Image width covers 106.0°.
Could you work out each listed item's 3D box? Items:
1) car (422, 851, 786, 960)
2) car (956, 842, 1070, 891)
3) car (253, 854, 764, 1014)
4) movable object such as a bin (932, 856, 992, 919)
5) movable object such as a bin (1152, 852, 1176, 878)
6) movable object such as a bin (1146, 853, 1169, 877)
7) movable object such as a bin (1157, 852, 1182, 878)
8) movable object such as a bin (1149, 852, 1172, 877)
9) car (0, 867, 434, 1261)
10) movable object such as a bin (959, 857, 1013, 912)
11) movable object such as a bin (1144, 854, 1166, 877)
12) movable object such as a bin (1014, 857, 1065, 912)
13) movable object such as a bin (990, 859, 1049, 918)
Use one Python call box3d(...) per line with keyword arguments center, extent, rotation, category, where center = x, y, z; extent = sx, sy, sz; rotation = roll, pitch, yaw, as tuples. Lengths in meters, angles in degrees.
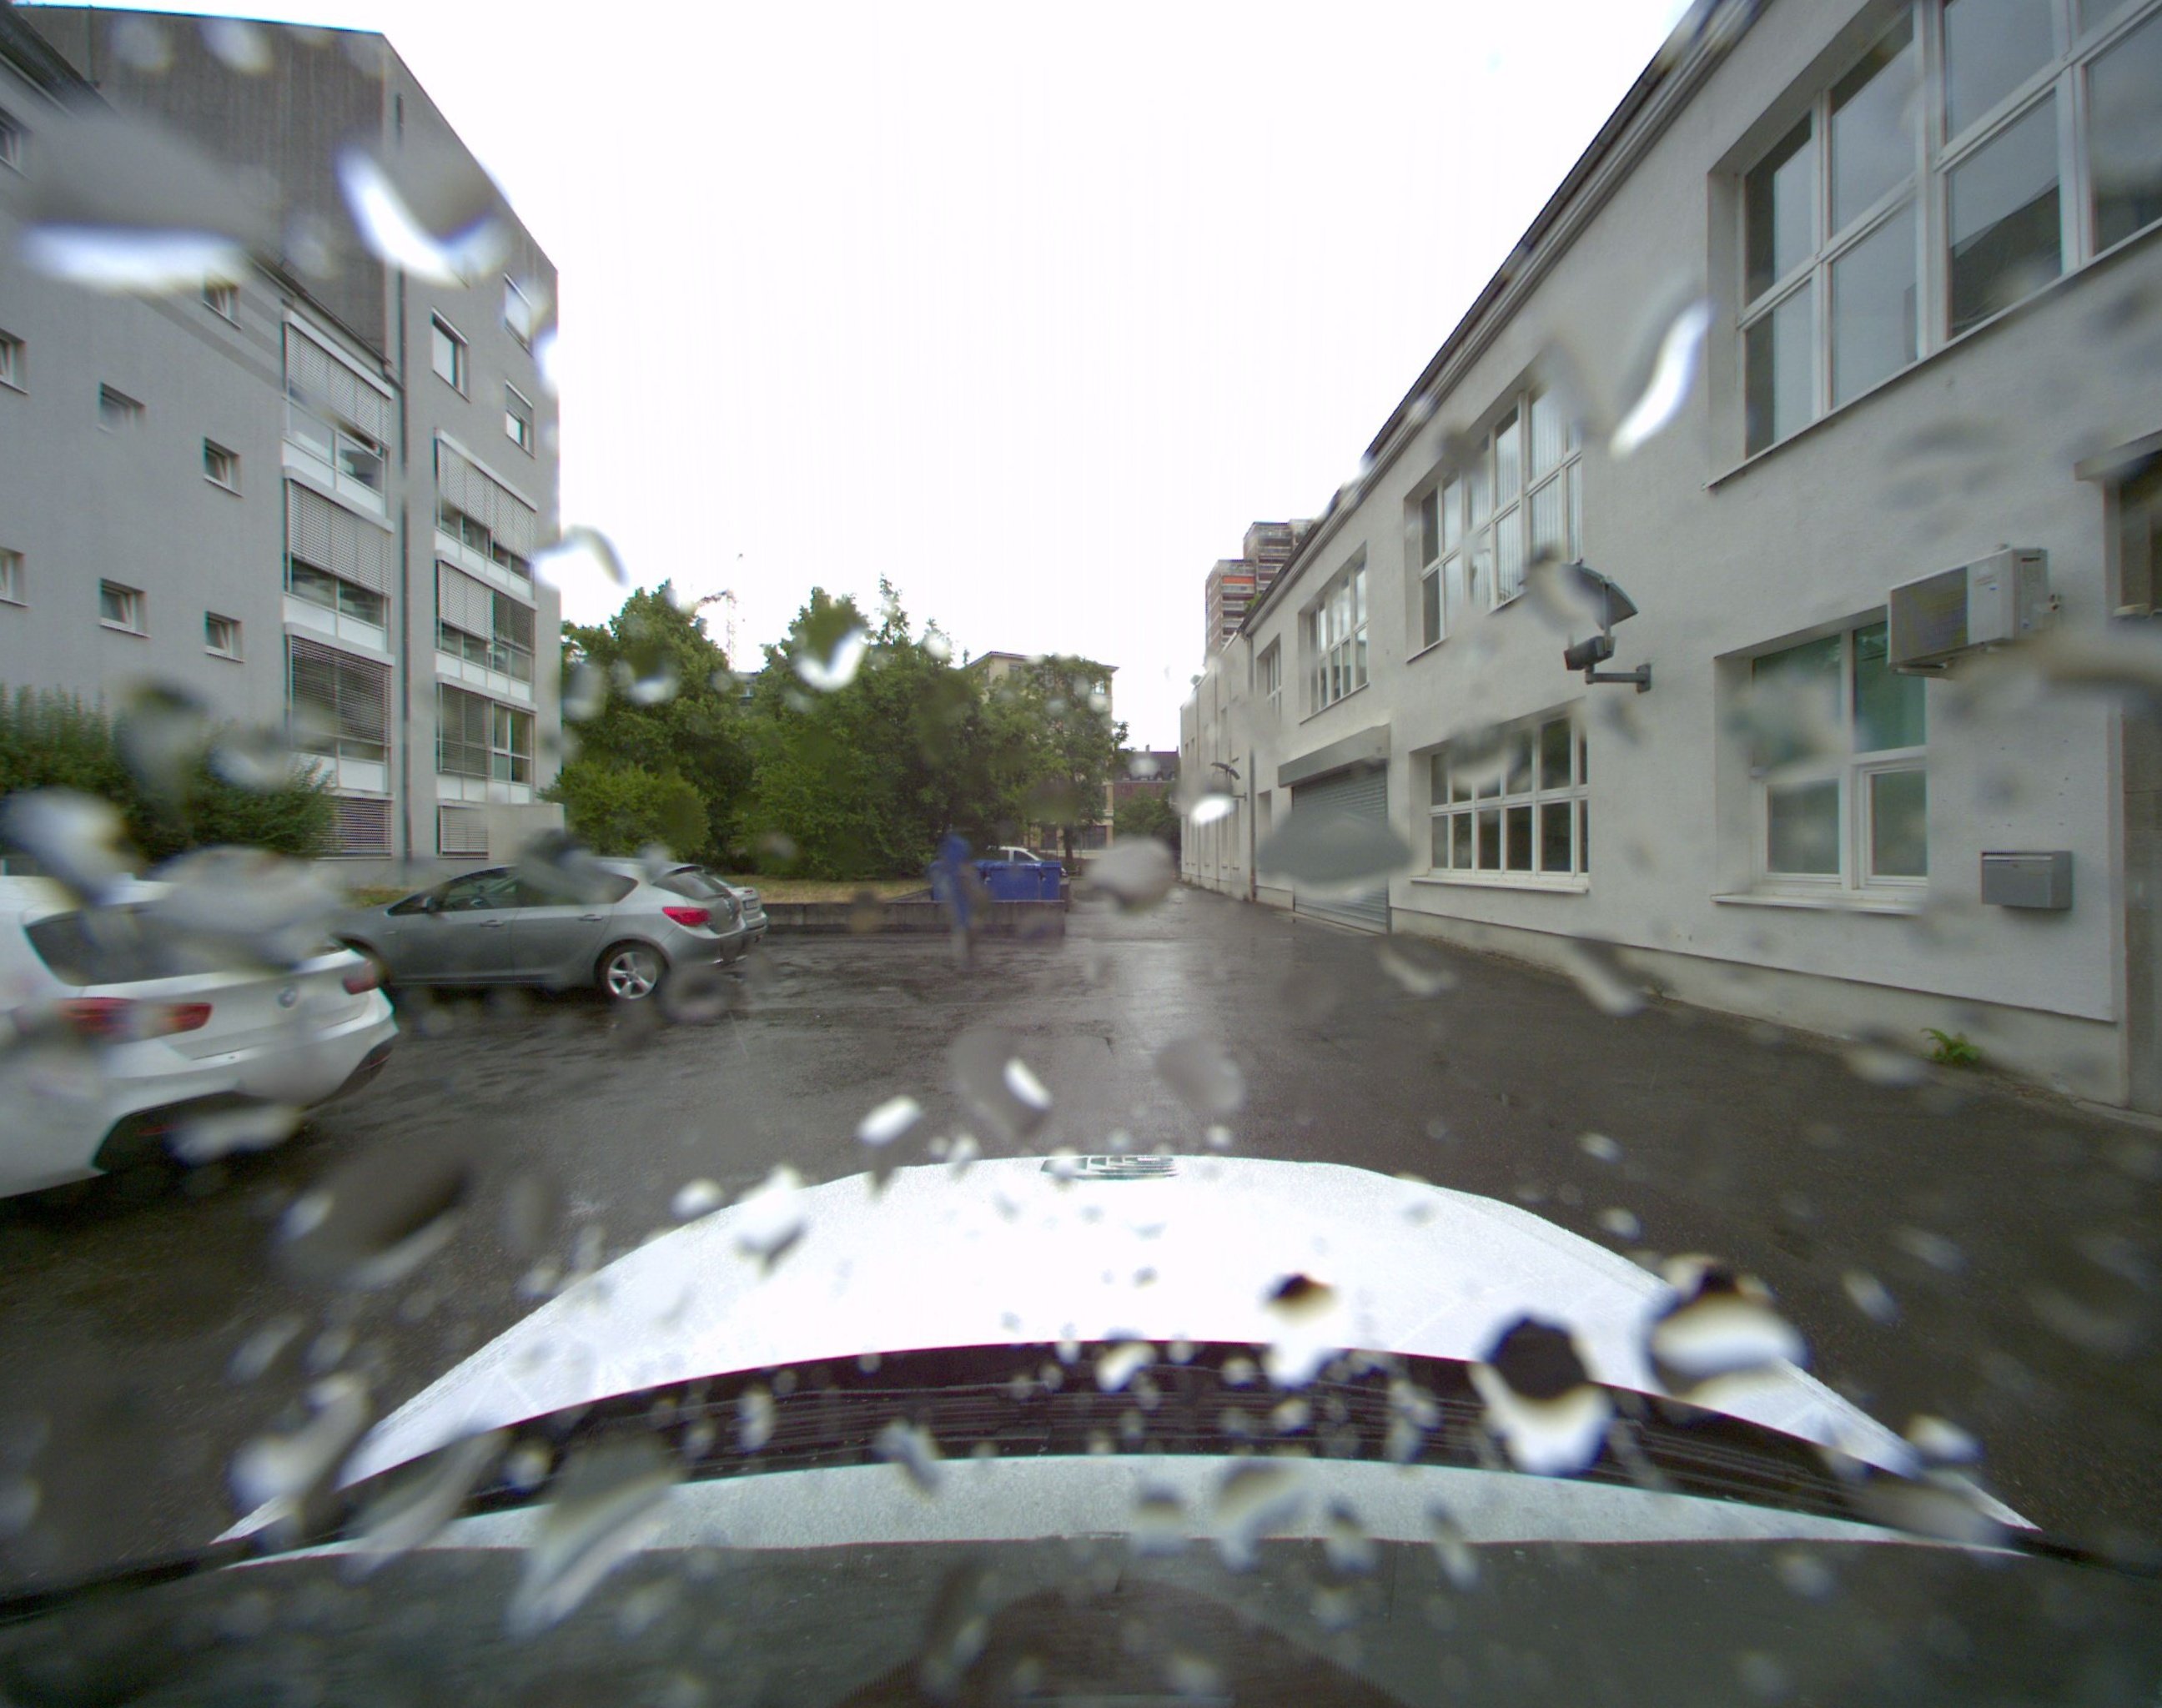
box3d(center=(-6.748, 0.707, 11.929), extent=(4.158, 1.333, 1.819), rotation=(2, 1, -5), category="car")
box3d(center=(-2.929, 0.536, 35.812), extent=(4.764, 2.013, 2.000), rotation=(-1, 0, 0), category="car")
box3d(center=(-5.888, 0.763, 8.890), extent=(4.160, 1.483, 1.819), rotation=(0, 1, -6), category="car")
box3d(center=(-2.724, 0.755, 18.815), extent=(1.199, 1.337, 1.117), rotation=(1, 2, 0), category="movable object such as a bin")
box3d(center=(4.773, 0.633, 46.972), extent=(1.211, 1.437, 1.293), rotation=(0, -2, -2), category="movable object such as a bin")
box3d(center=(4.699, 0.678, 50.113), extent=(1.211, 1.437, 1.258), rotation=(0, -2, -2), category="movable object such as a bin")
box3d(center=(4.908, 0.623, 45.417), extent=(1.211, 1.437, 1.234), rotation=(0, -2, -3), category="movable object such as a bin")
box3d(center=(4.770, 0.659, 48.738), extent=(1.211, 1.468, 1.234), rotation=(0, -2, -3), category="movable object such as a bin")
box3d(center=(-5.783, 0.799, 3.691), extent=(4.134, 1.433, 1.749), rotation=(0, -1, -6), category="car")
box3d(center=(-2.363, 0.751, 20.463), extent=(1.217, 1.337, 1.006), rotation=(0, 1, 0), category="movable object such as a bin")
box3d(center=(4.668, 0.731, 51.490), extent=(1.211, 1.437, 1.258), rotation=(0, -2, -2), category="movable object such as a bin")
box3d(center=(-1.041, 0.753, 20.603), extent=(1.217, 1.337, 1.006), rotation=(0, 0, 0), category="movable object such as a bin")
box3d(center=(-1.405, 0.782, 18.860), extent=(1.197, 1.337, 1.118), rotation=(0, -1, 4), category="movable object such as a bin")
